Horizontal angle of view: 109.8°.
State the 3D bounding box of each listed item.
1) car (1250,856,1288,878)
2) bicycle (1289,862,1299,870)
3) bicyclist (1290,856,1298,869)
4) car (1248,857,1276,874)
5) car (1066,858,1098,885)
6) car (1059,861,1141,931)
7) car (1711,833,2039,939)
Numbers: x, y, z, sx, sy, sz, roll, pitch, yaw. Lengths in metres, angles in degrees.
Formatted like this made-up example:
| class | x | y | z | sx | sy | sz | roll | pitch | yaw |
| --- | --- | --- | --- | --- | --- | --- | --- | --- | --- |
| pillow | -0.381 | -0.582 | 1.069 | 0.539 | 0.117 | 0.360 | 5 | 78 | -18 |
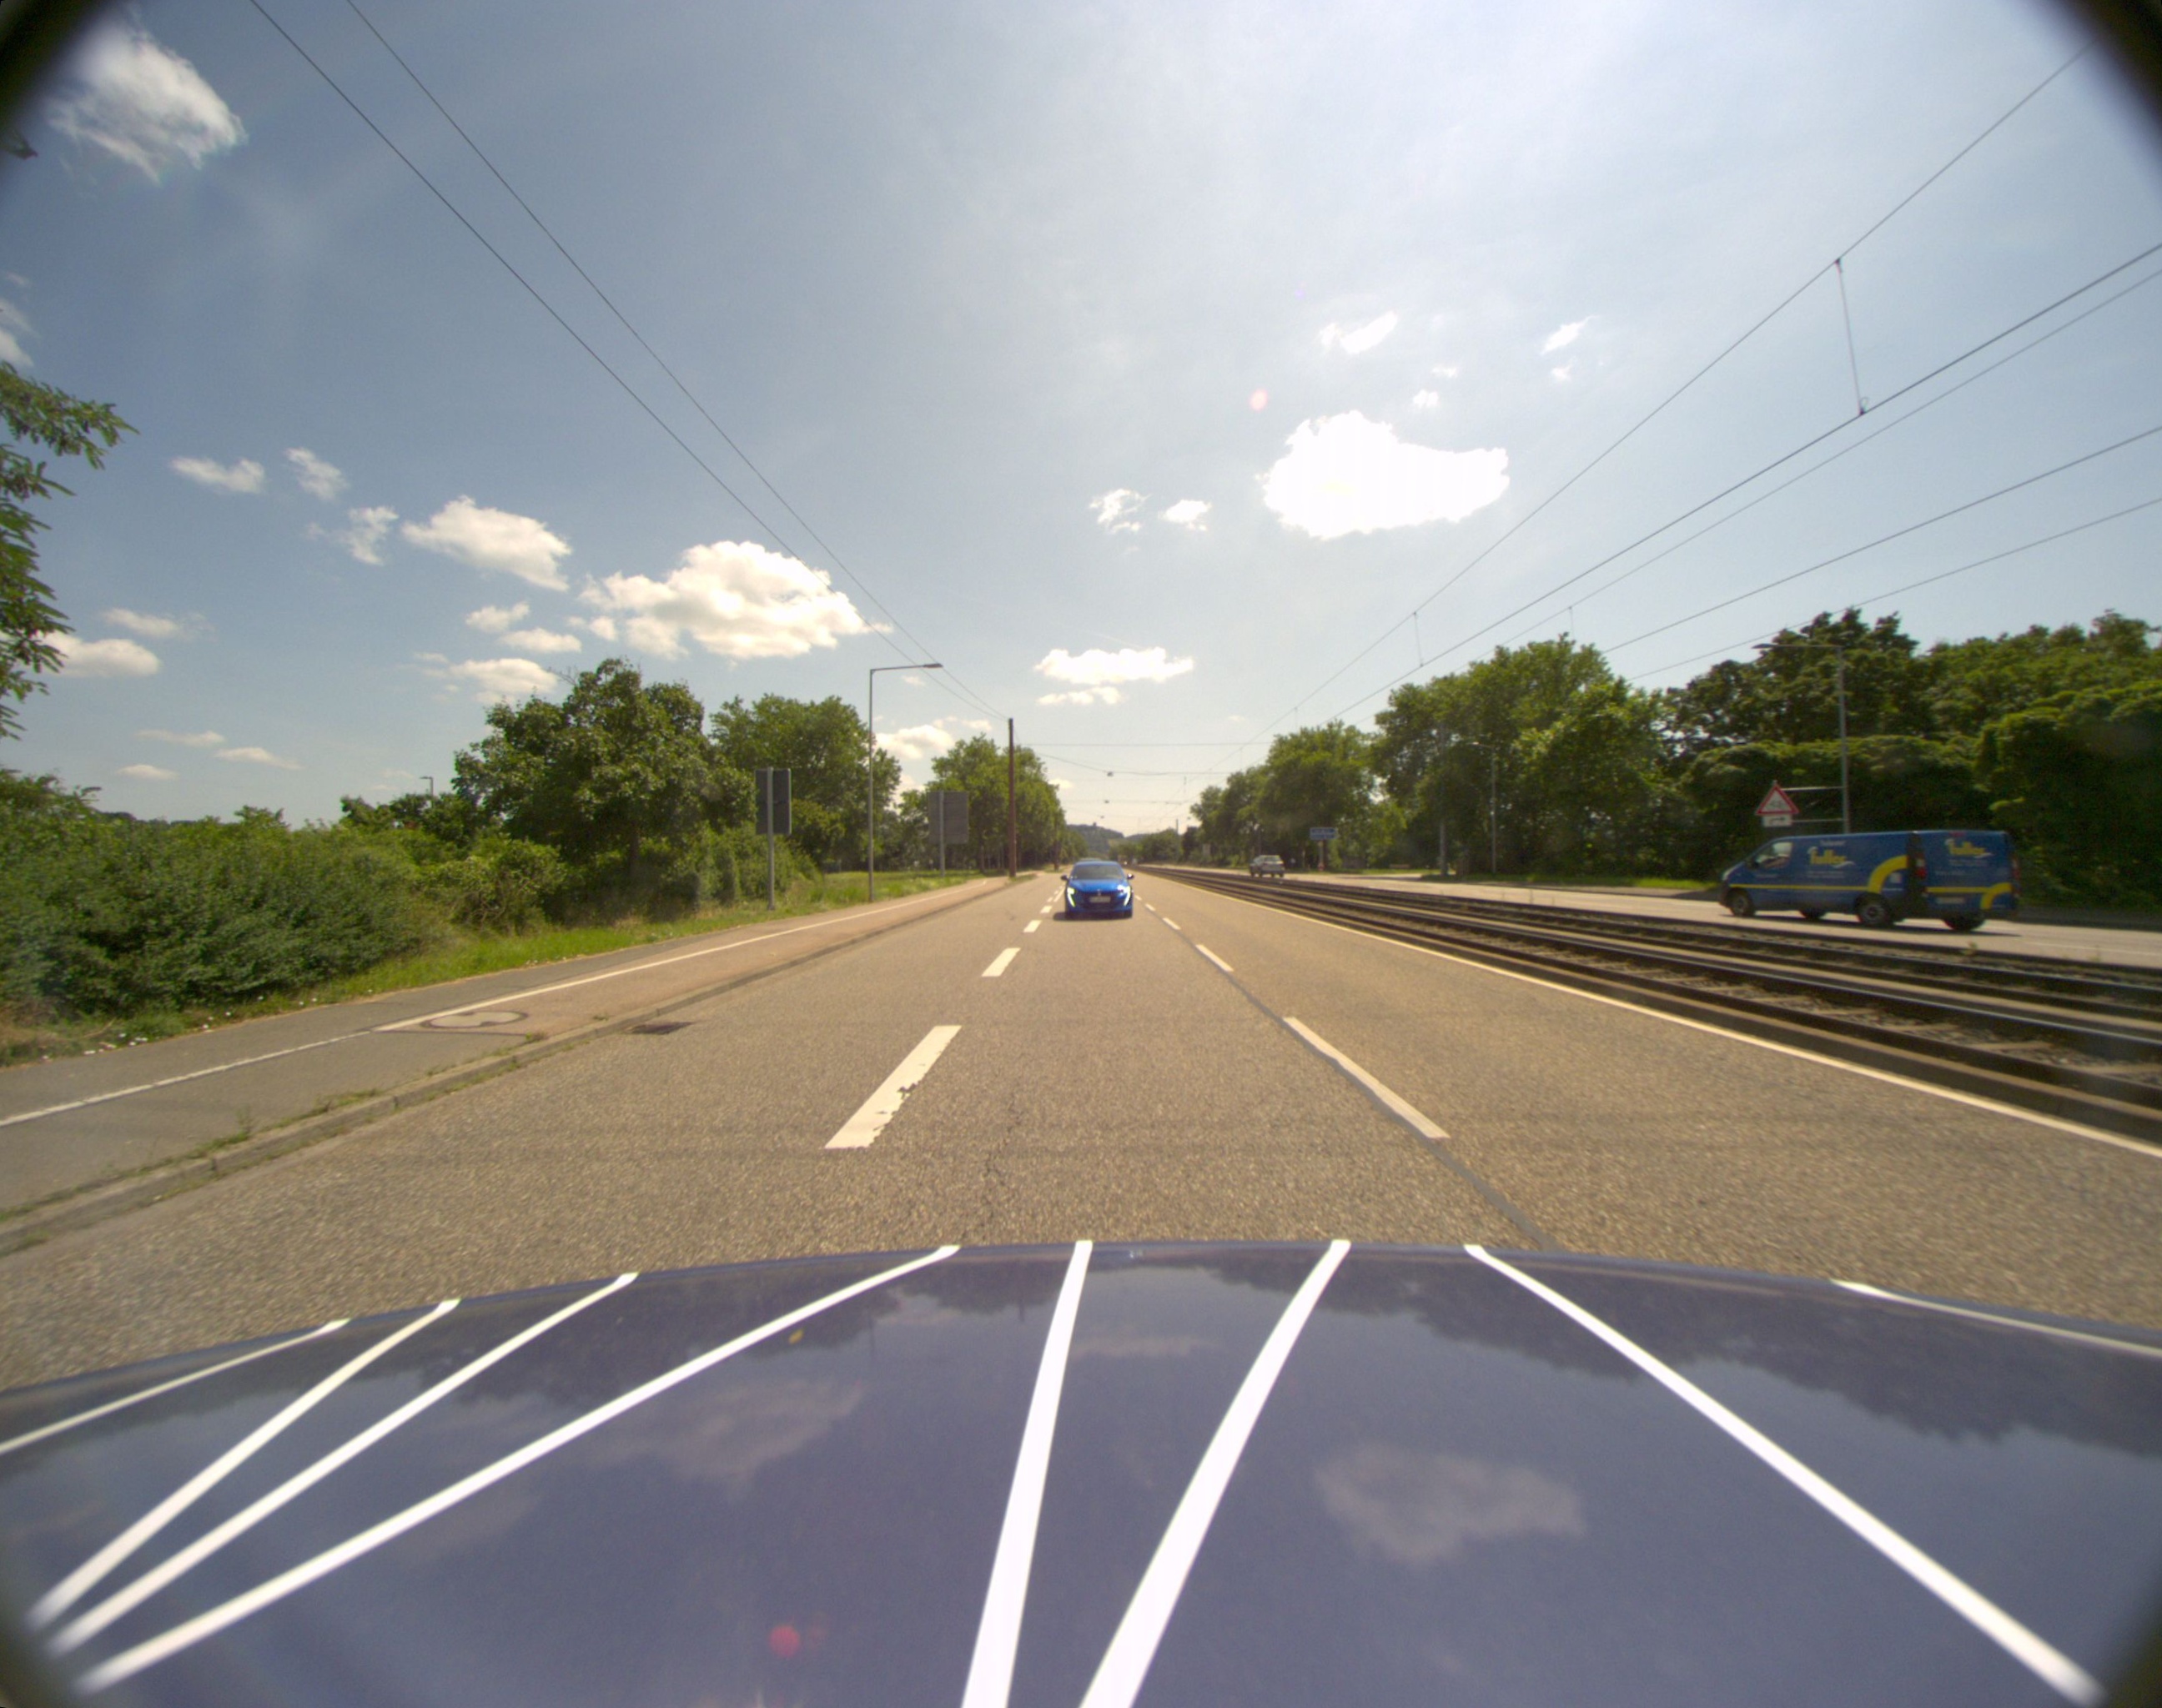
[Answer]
| class | x | y | z | sx | sy | sz | roll | pitch | yaw |
| --- | --- | --- | --- | --- | --- | --- | --- | --- | --- |
| car | 14.287 | 0.954 | 58.014 | 1.806 | 1.616 | 4.494 | 1 | 0 | 1 |
| bicycle | 25.352 | 1.461 | 90.620 | 0.623 | 0.934 | 2.091 | -1 | 0 | 0 |
| bicyclist | 25.364 | 1.052 | 90.691 | 0.623 | 1.509 | 1.160 | -1 | 0 | 0 |
| car | 18.049 | 1.168 | 76.080 | 1.806 | 1.616 | 4.211 | 1 | 0 | 1 |
| car | 0.077 | 0.973 | 44.319 | 1.771 | 1.422 | 4.000 | -2 | 0 | 1 |
| car | 0.453 | 0.945 | 19.041 | 1.771 | 1.463 | 4.467 | -2 | 0 | 1 |
| car | 16.603 | 0.581 | 16.413 | 1.861 | 1.916 | 5.008 | 1 | 0 | 1 |
